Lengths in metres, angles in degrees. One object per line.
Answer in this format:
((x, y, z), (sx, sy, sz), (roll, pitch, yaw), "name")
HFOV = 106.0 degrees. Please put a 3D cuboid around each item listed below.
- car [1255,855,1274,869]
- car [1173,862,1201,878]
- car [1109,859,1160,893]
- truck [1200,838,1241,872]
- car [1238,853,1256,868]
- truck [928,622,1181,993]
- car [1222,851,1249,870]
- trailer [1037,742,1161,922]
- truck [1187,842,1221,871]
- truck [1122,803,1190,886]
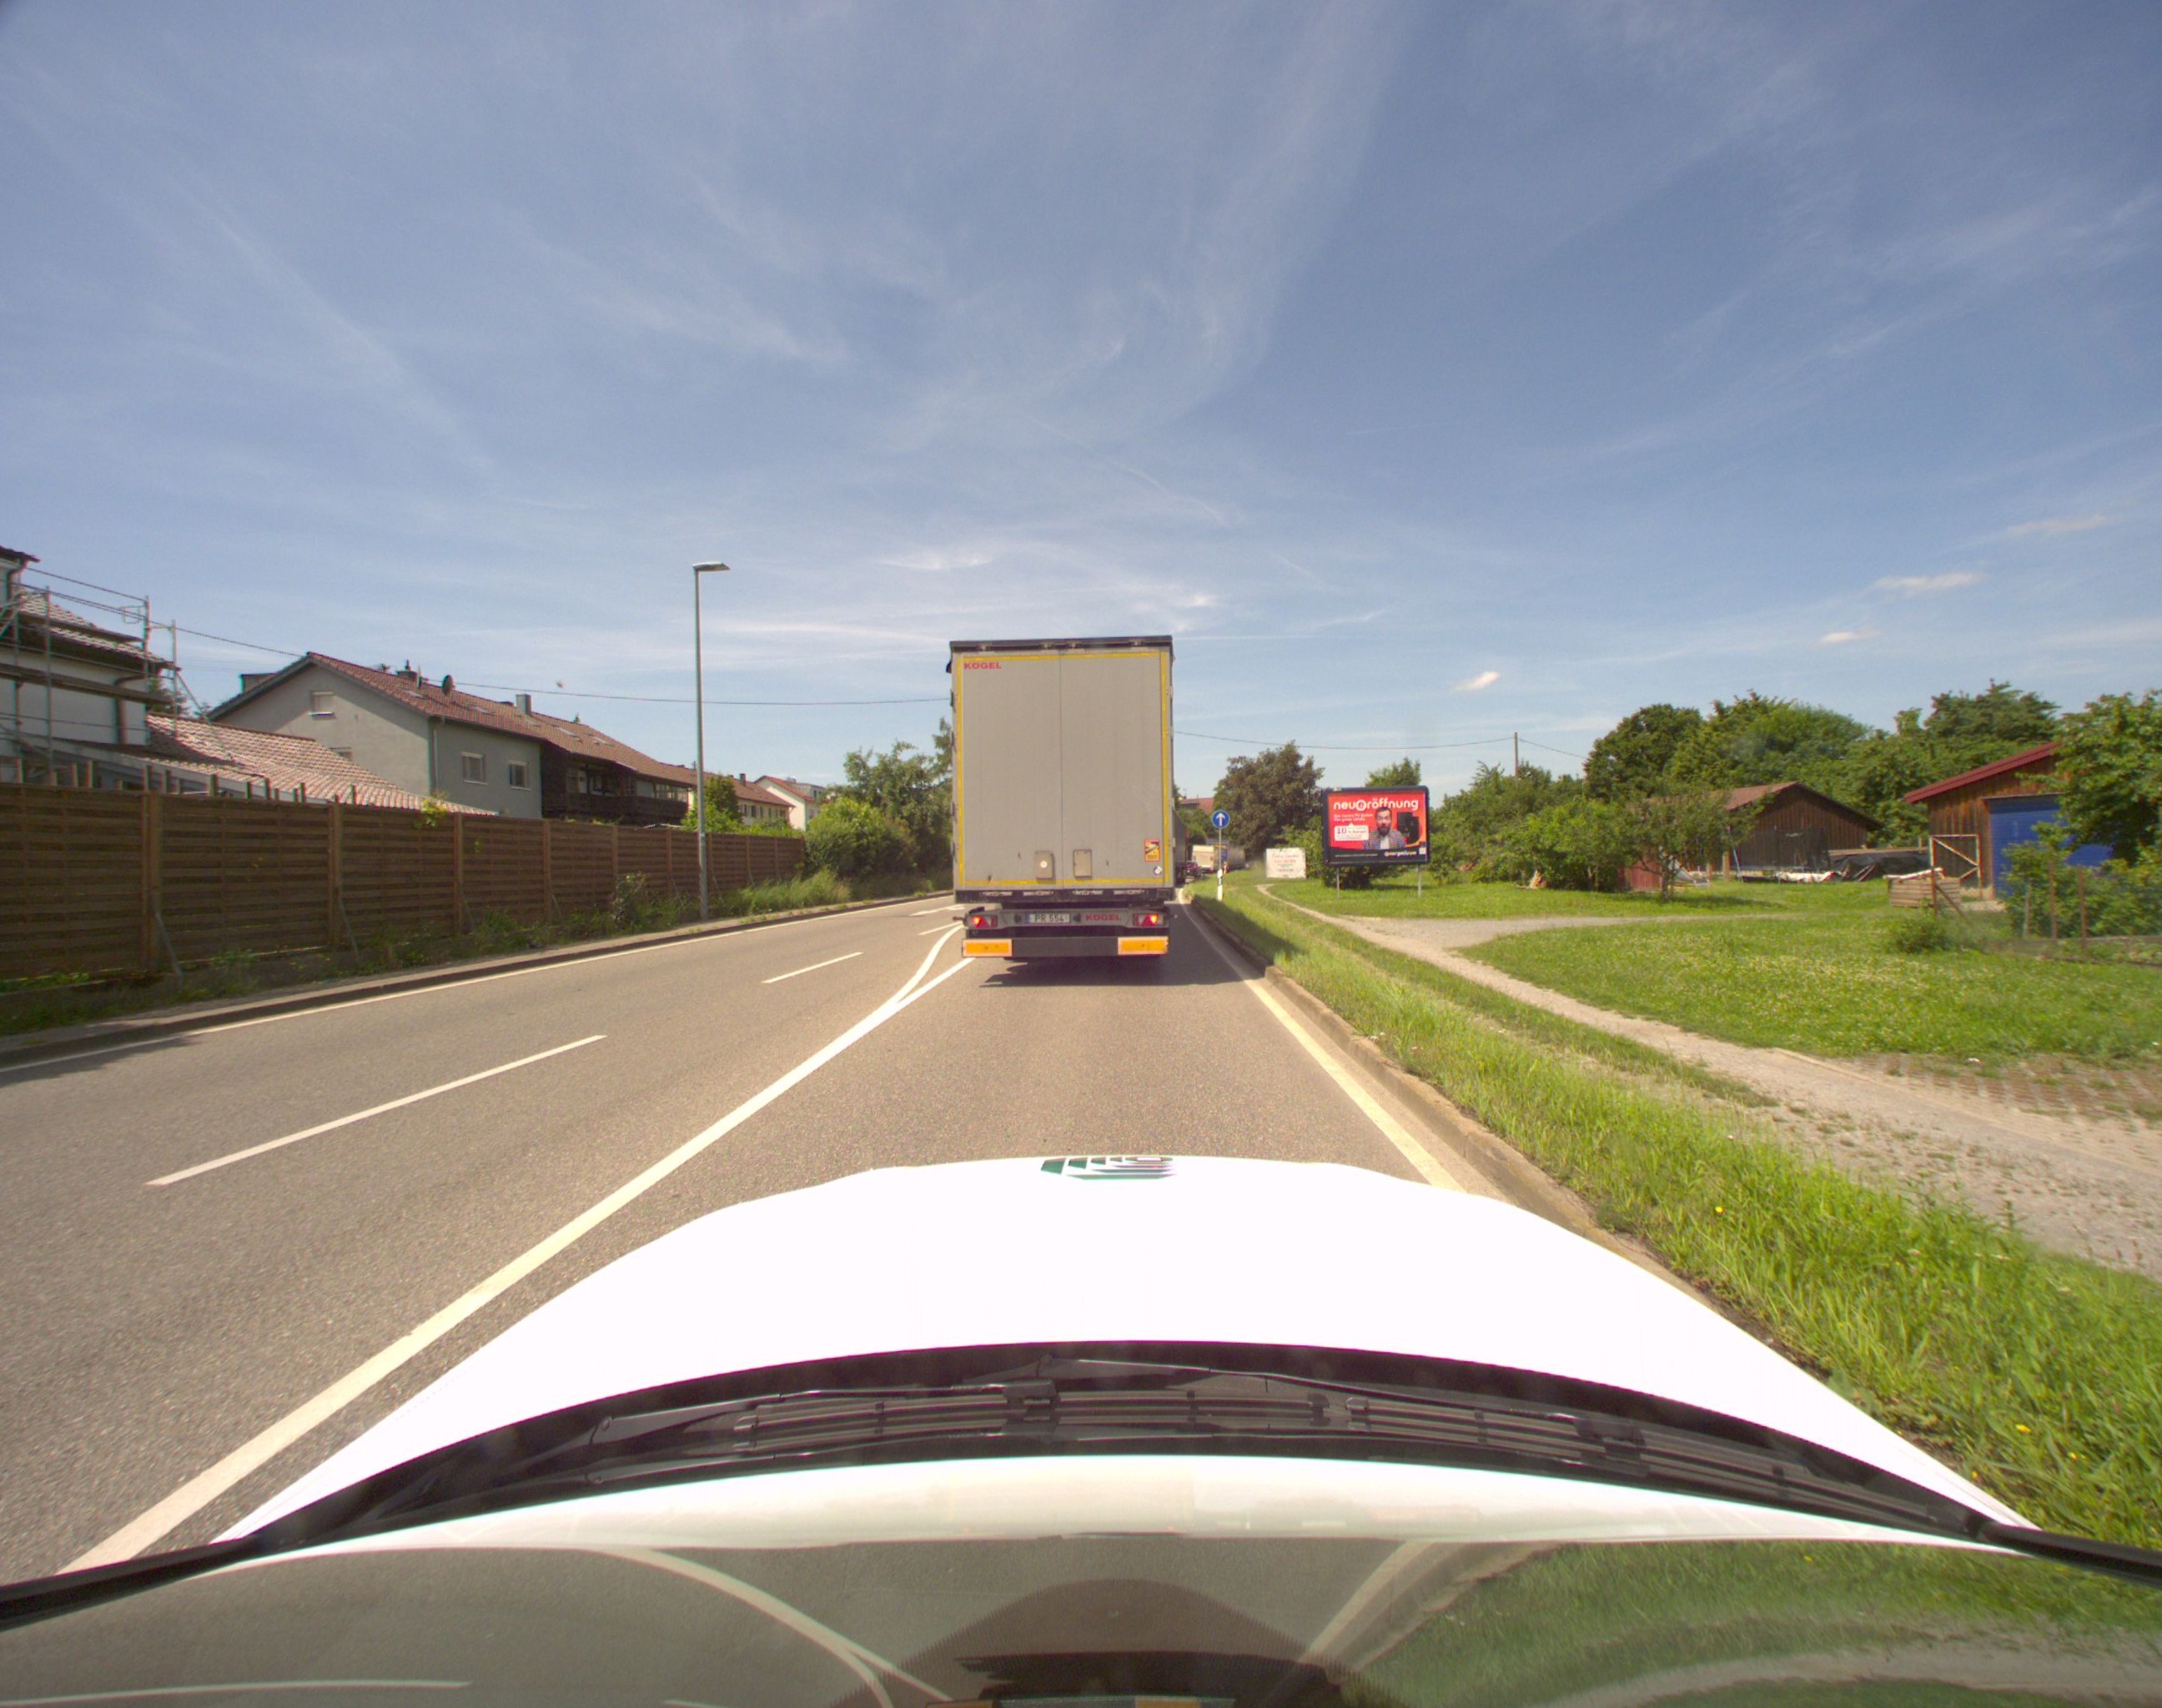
((27.157, 1.233, 120.356), (1.976, 2.014, 4.021), (-1, -1, 22), "car")
((9.277, 1.360, 71.082), (1.979, 1.376, 4.015), (0, -1, 14), "car")
((2.339, 0.916, 34.872), (1.808, 1.346, 3.857), (0, -1, 9), "car")
((15.946, 0.094, 92.540), (3.406, 3.604, 9.395), (-1, 0, 17), "truck")
((22.851, 0.904, 112.146), (1.978, 2.014, 4.018), (-1, -1, 17), "car")
((0.120, -0.527, 14.832), (2.809, 4.127, 11.457), (0, 0, 4), "truck")
((19.563, 0.803, 102.893), (2.512, 2.277, 6.410), (0, 0, 17), "car")
((0.670, -0.511, 22.095), (2.812, 4.111, 6.552), (-1, 0, 4), "trailer")
((12.312, 0.300, 81.233), (2.524, 2.803, 6.057), (-1, -1, 16), "truck")
((4.961, -0.355, 50.264), (2.743, 4.289, 16.460), (0, -1, 10), "truck")
